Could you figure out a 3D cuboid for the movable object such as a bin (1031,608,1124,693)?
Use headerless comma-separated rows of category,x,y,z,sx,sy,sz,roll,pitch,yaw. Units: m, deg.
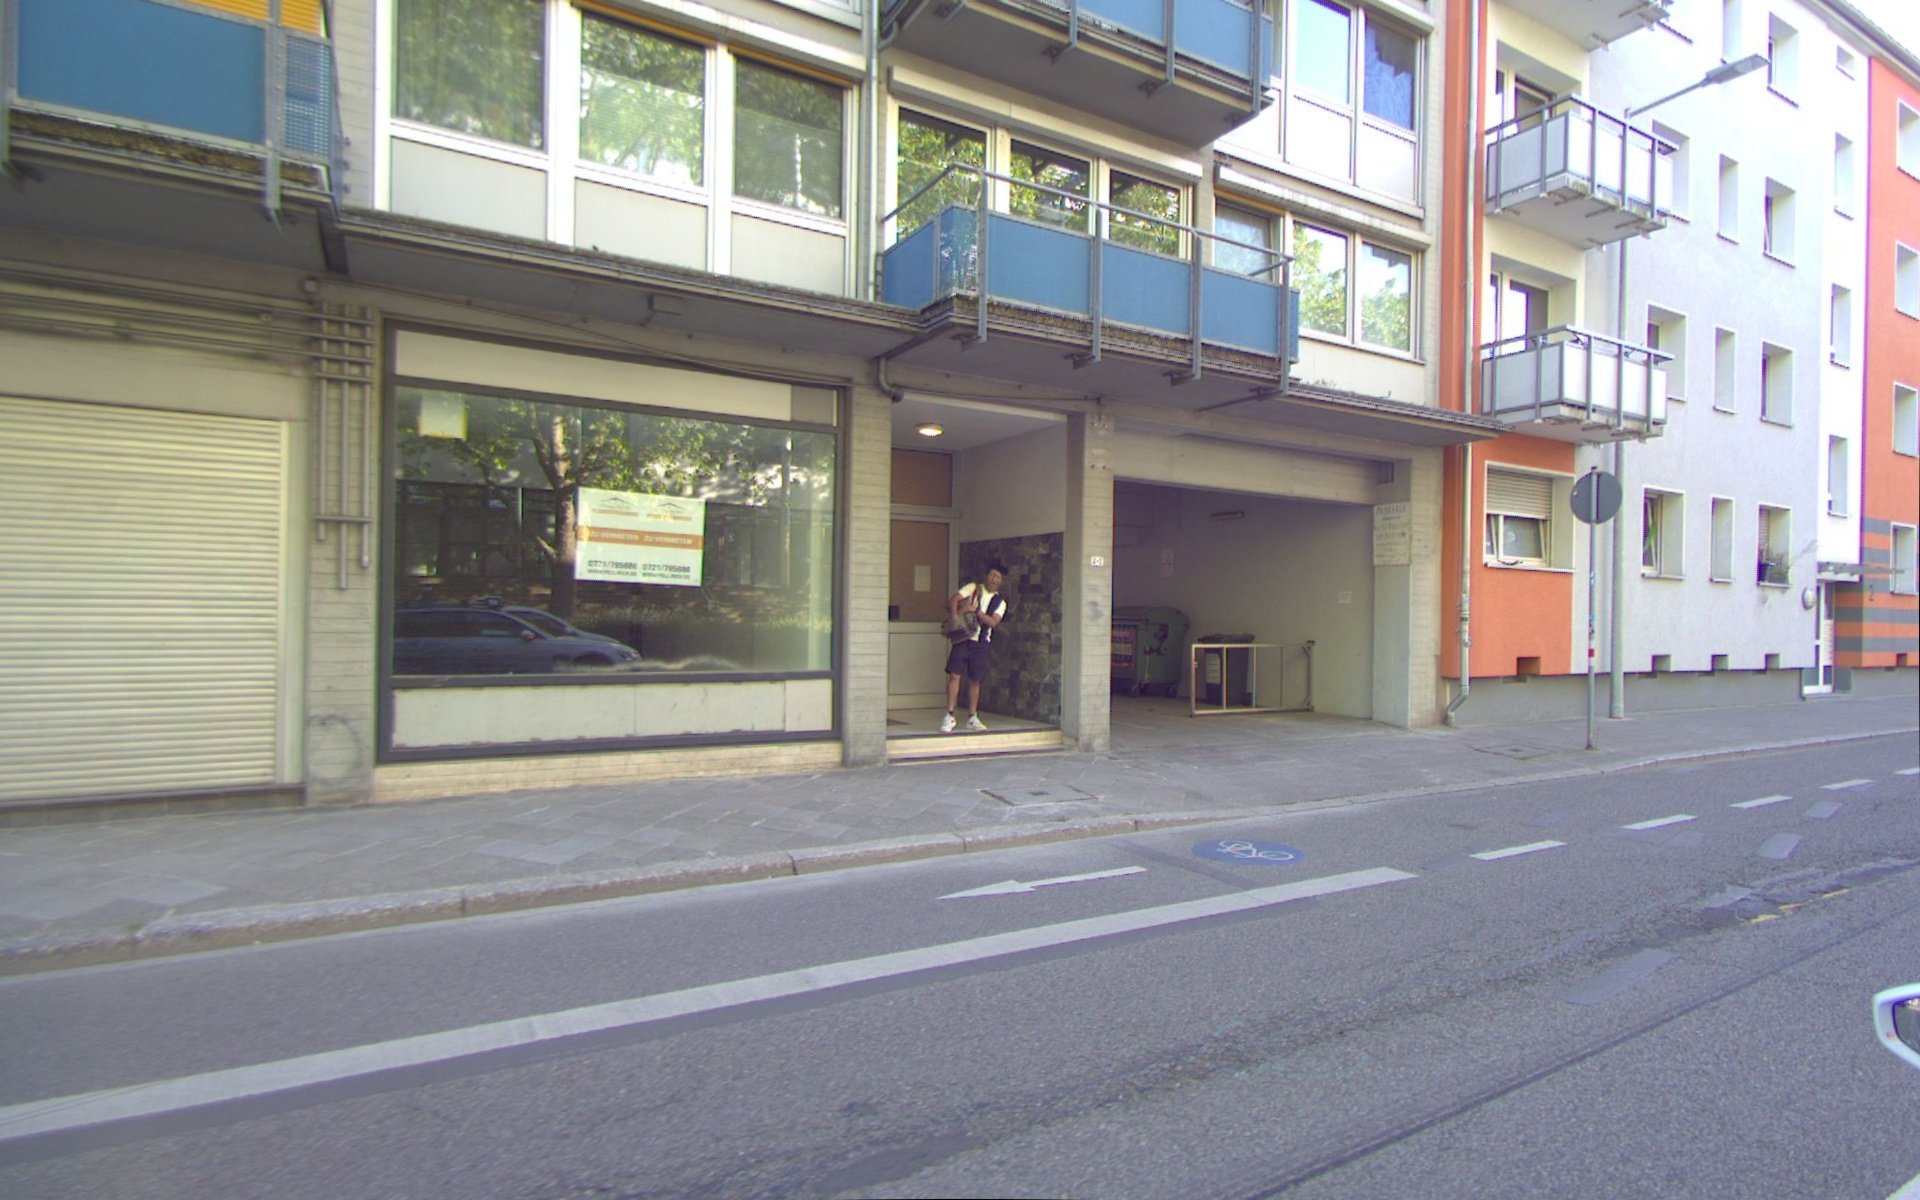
movable object such as a bin,2.062,0.861,17.798,1.067,1.433,1.312,1,0,-30

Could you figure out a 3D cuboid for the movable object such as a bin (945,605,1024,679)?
movable object such as a bin,0.485,0.831,20.459,1.067,1.433,1.312,1,0,-30

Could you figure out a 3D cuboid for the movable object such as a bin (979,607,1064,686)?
movable object such as a bin,1.163,0.865,19.255,1.067,1.433,1.312,1,0,-30

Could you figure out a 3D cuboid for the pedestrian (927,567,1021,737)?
pedestrian,0.137,0.500,9.900,0.747,1.600,0.511,1,0,-30

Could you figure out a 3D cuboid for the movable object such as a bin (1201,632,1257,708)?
movable object such as a bin,4.033,1.039,15.068,0.646,1.102,0.487,1,0,-30

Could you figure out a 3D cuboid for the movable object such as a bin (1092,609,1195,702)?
movable object such as a bin,2.986,0.874,16.447,1.067,1.433,1.312,1,0,-30
